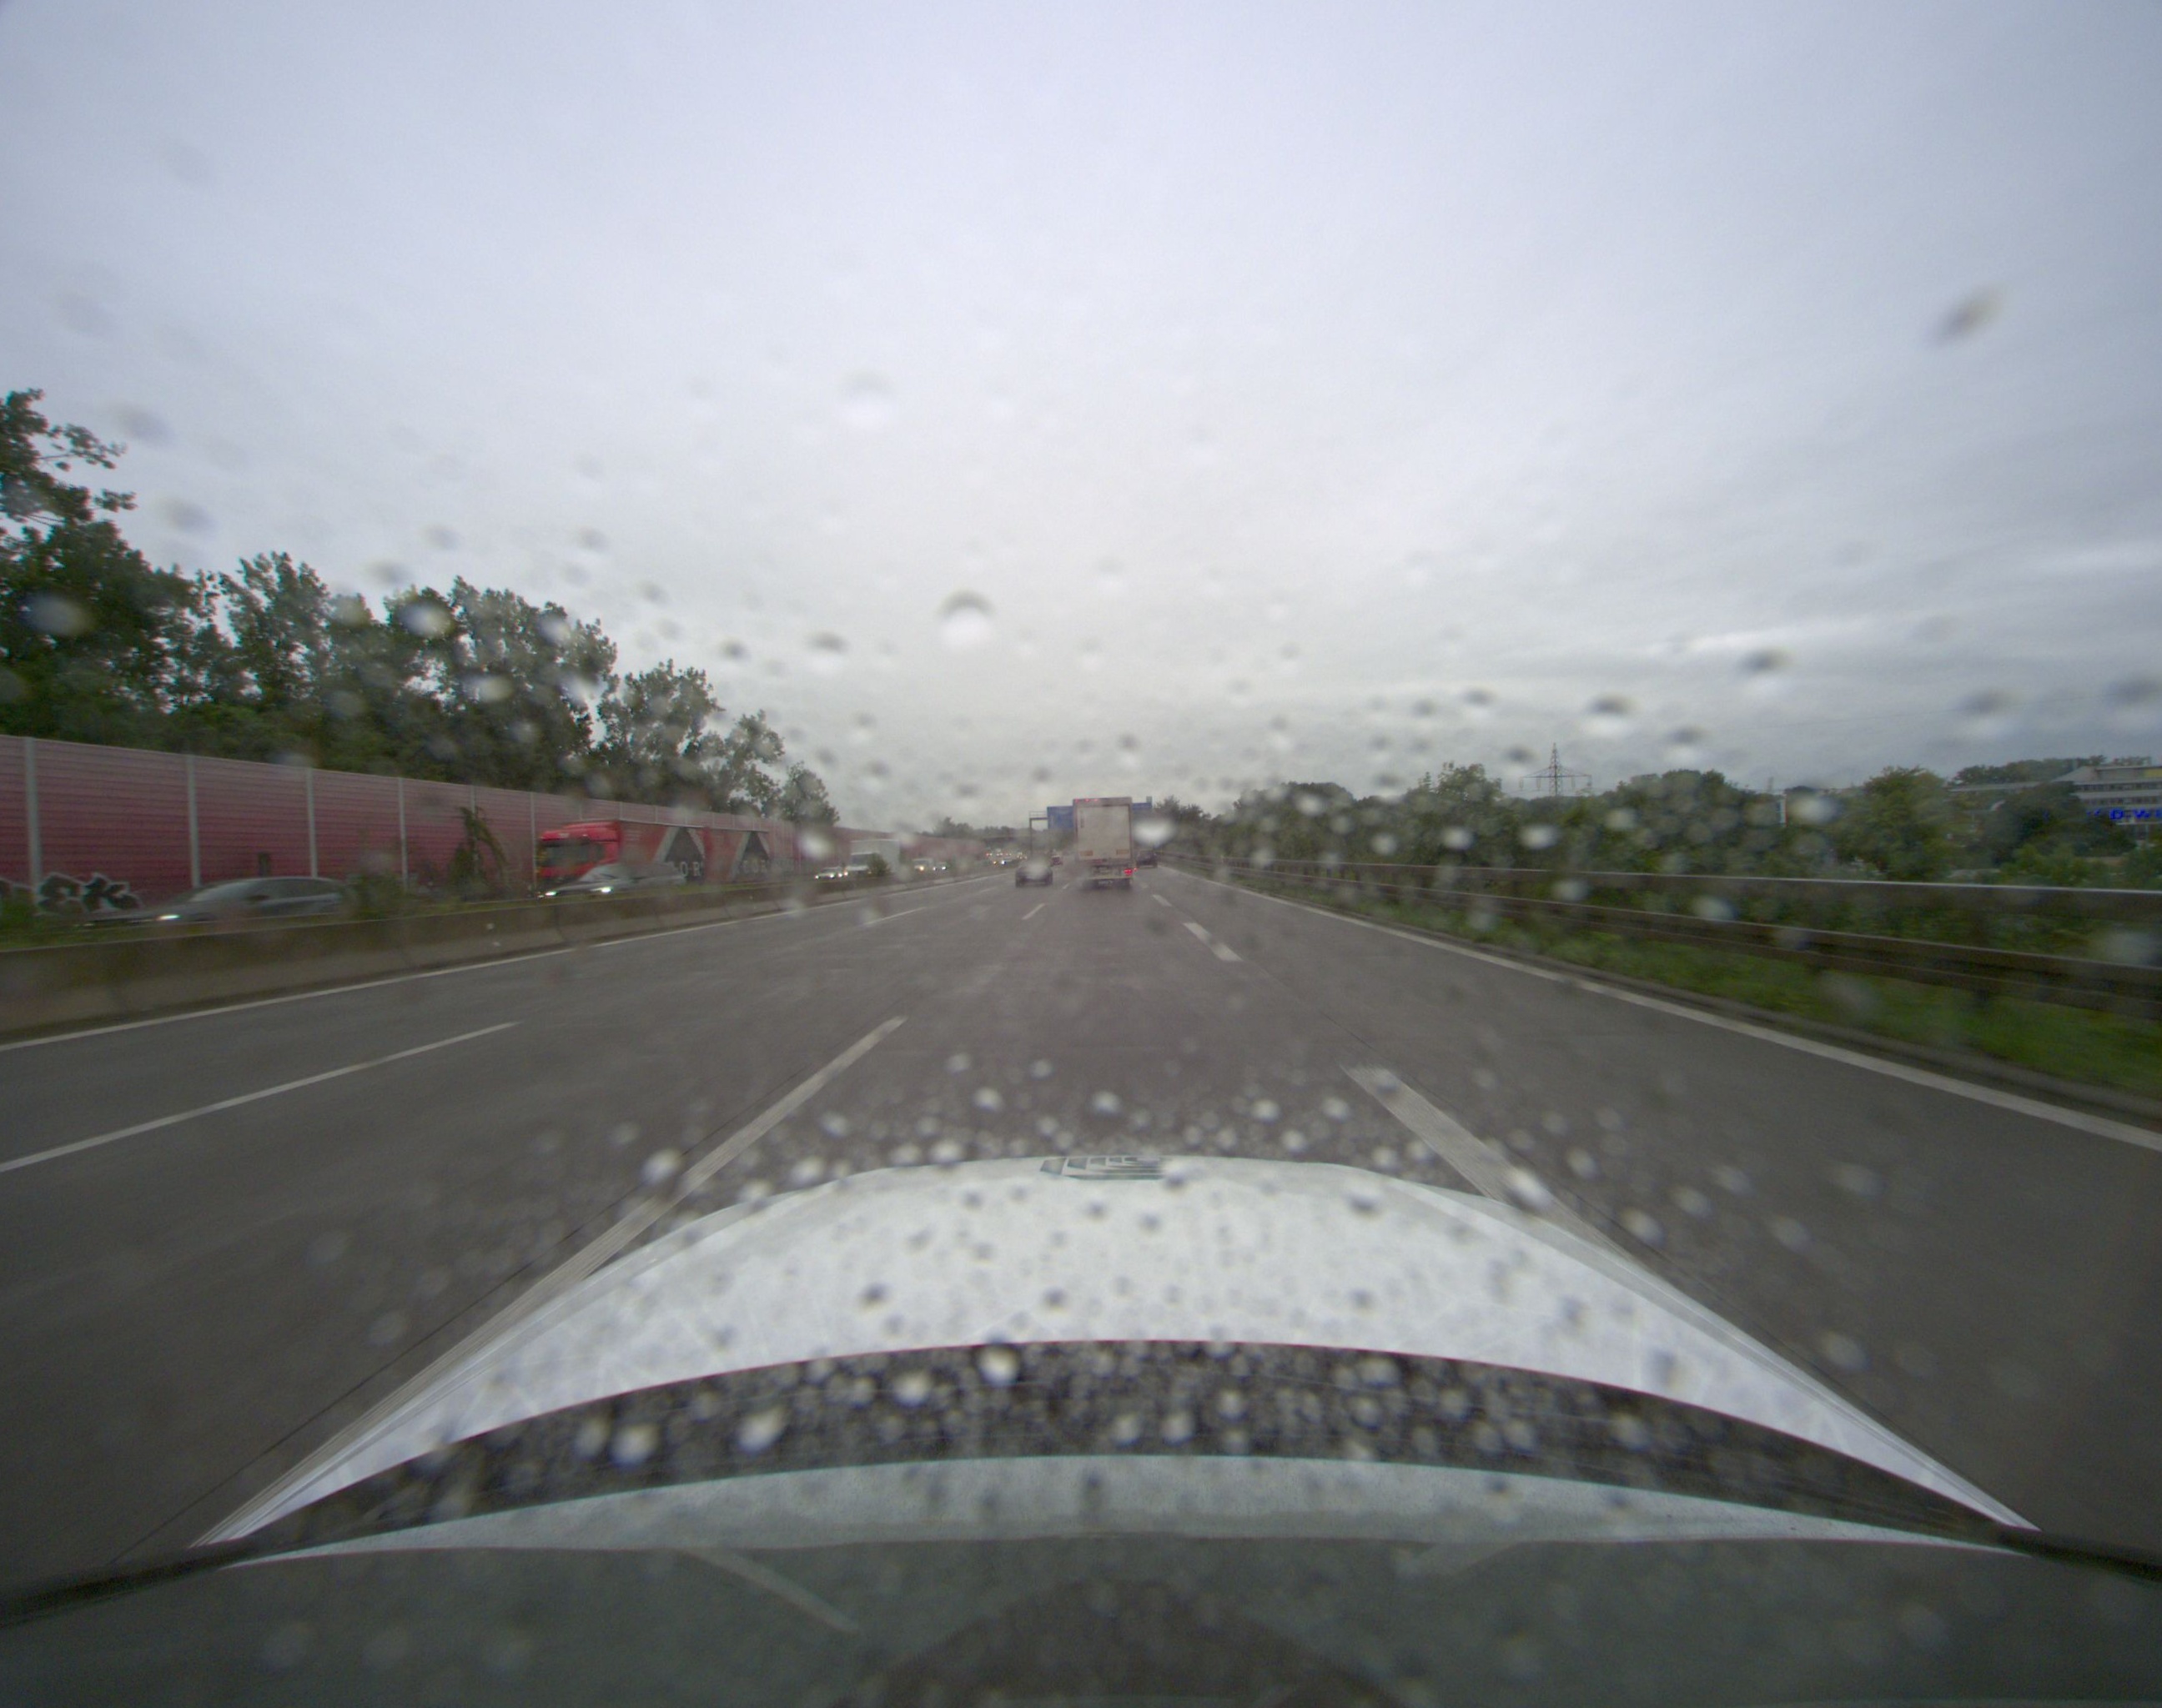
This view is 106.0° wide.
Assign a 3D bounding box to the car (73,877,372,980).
[{"bbox_3d":[-18.960,1.545,18.361,1.986,1.859,4.391,-2,0,2],"label":"car"}]

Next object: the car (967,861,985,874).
[{"bbox_3d":[-15.344,1.920,119.237,1.986,1.724,4.002,-3,0,2],"label":"car"}]

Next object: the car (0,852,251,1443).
[{"bbox_3d":[-3.900,0.798,0.287,1.832,1.594,5.157,-1,0,1],"label":"car"}]

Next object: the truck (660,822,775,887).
[{"bbox_3d":[-21.440,0.019,48.689,2.770,3.490,8.497,-2,0,2],"label":"truck"}]

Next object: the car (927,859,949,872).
[{"bbox_3d":[-19.768,1.597,112.819,1.986,1.648,4.540,-3,0,2],"label":"car"}]

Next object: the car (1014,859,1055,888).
[{"bbox_3d":[-2.471,1.015,44.112,1.719,1.403,4.831,-1,0,2],"label":"car"}]

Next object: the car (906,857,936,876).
[{"bbox_3d":[-16.278,1.247,83.288,1.988,1.859,5.540,-2,0,-1],"label":"car"}]

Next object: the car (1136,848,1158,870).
[{"bbox_3d":[5.961,0.415,73.947,1.889,1.949,4.004,0,0,3],"label":"car"}]

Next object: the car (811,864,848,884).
[{"bbox_3d":[-23.936,1.854,77.679,1.986,1.648,4.540,-3,0,2],"label":"car"}]

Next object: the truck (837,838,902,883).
[{"bbox_3d":[-13.926,0.406,54.172,2.258,2.828,7.282,0,0,2],"label":"truck"}]

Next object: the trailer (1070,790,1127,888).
[{"bbox_3d":[1.044,-0.738,42.385,2.333,4.157,14.836,-1,1,2],"label":"trailer"}]

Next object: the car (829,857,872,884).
[{"bbox_3d":[-17.326,1.225,61.442,1.988,1.859,4.388,-2,0,-1],"label":"car"}]

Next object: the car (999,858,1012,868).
[{"bbox_3d":[-15.334,1.757,166.434,1.986,2.013,5.808,0,0,2],"label":"car"}]

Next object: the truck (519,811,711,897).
[{"bbox_3d":[-21.724,0.008,39.077,2.770,3.490,10.622,-2,0,2],"label":"truck"}]

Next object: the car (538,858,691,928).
[{"bbox_3d":[-14.026,1.103,24.827,1.986,1.859,4.391,-2,0,2],"label":"car"}]

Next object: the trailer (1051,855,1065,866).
[{"bbox_3d":[-3.626,0.991,127.532,1.808,1.624,4.571,-1,0,2],"label":"trailer"}]
